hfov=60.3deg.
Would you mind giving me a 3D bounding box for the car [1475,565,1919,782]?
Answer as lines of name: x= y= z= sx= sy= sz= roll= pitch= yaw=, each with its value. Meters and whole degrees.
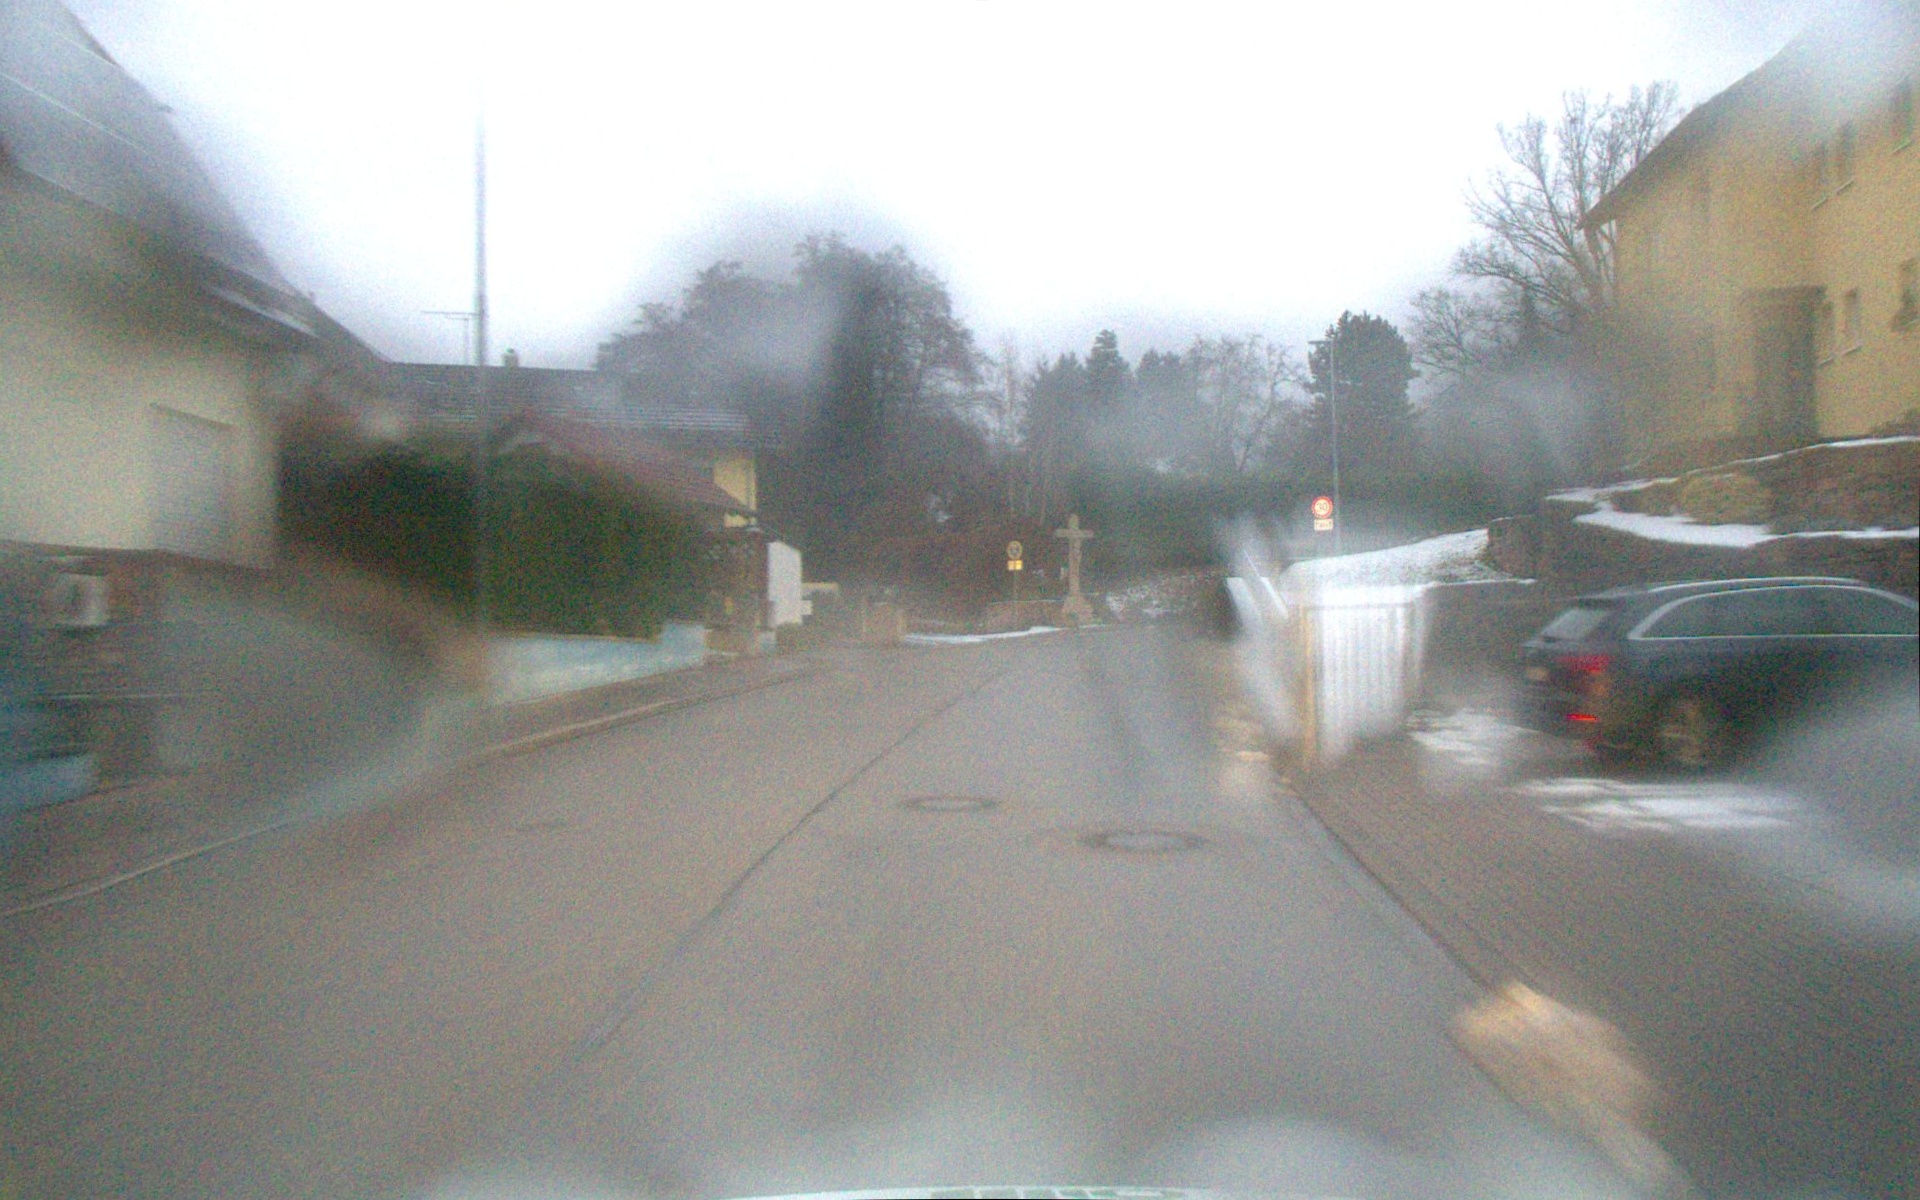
car: x=6.649 y=0.511 z=13.230 sx=4.411 sy=1.469 sz=2.001 roll=-3 pitch=0 yaw=2
